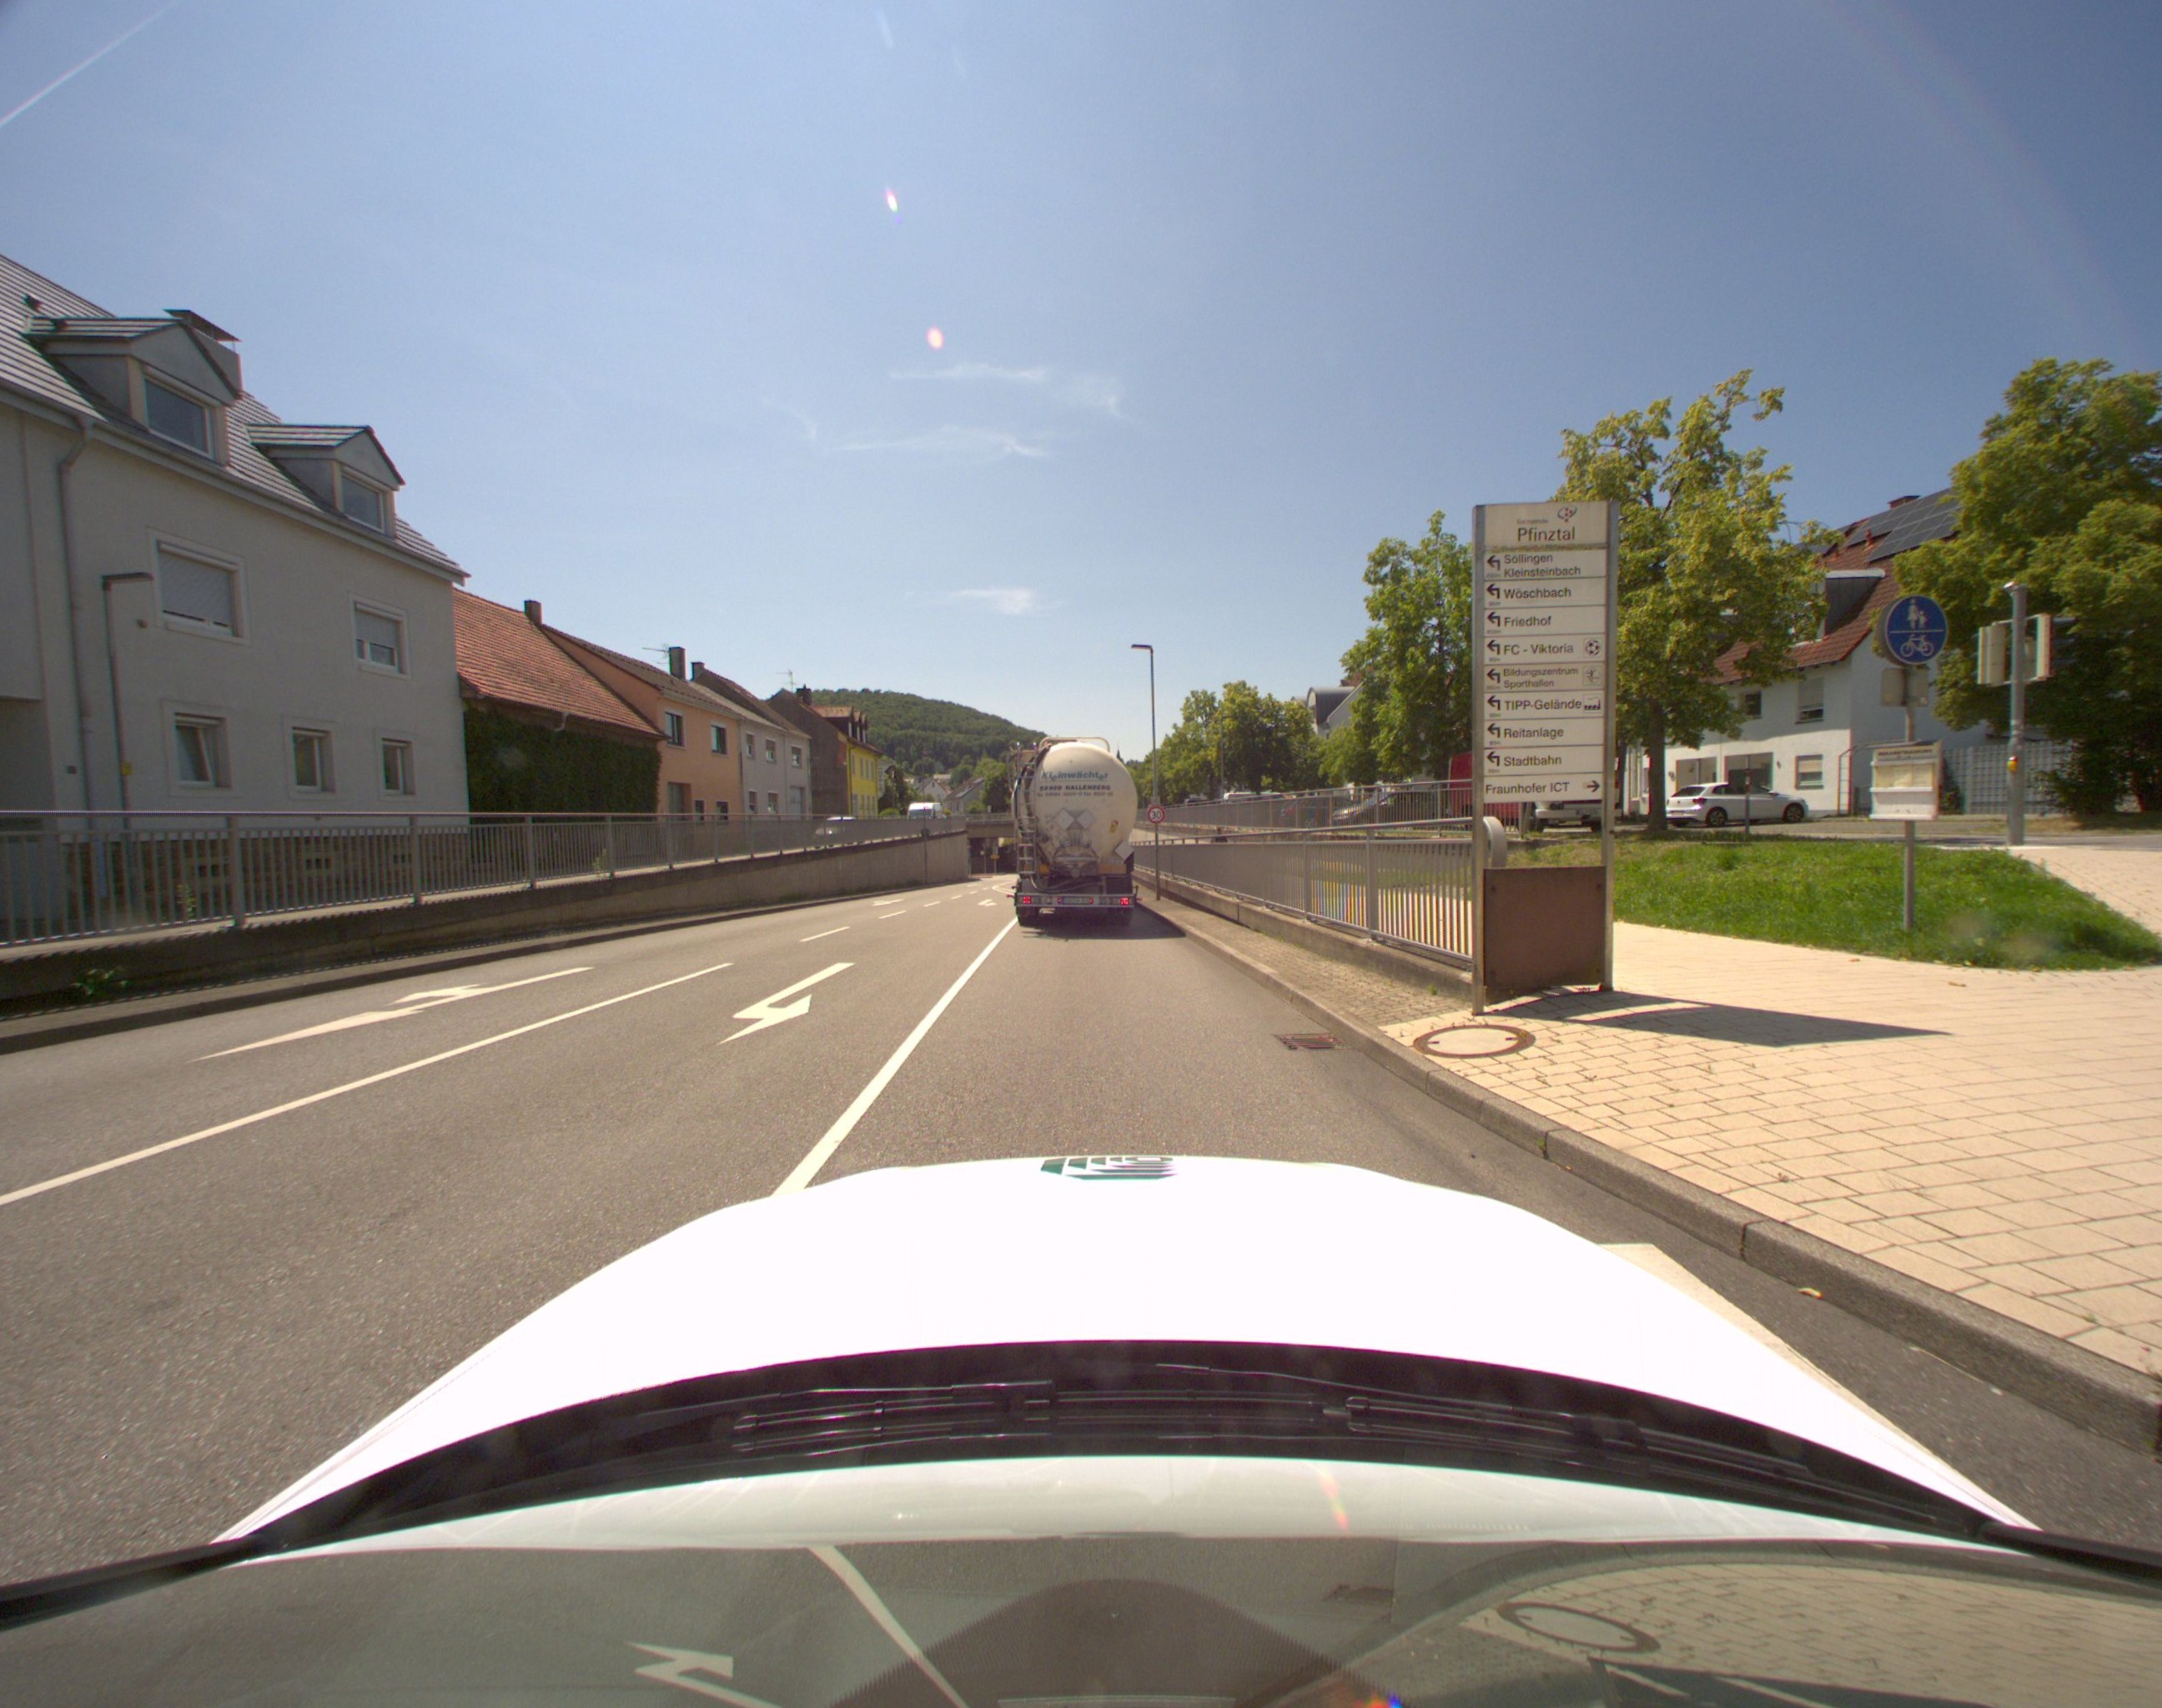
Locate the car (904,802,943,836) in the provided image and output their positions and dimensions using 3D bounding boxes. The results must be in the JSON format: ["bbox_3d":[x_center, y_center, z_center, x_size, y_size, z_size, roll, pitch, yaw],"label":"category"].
[{"bbox_3d":[-12.002,-2.687,62.469,2.060,2.536,5.659,0,2,-1],"label":"car"}]

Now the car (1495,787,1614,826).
[{"bbox_3d":[21.526,-2.155,37.120,4.393,1.489,1.757,-3,2,-1],"label":"car"}]

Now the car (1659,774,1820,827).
[{"bbox_3d":[21.647,-1.750,26.886,3.926,1.478,1.757,-3,2,-1],"label":"car"}]

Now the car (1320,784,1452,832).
[{"bbox_3d":[10.582,-1.600,28.438,3.974,1.498,1.749,-2,2,0],"label":"car"}]

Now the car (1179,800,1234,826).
[{"bbox_3d":[9.545,-3.136,62.201,3.893,1.885,1.686,-2,2,0],"label":"car"}]

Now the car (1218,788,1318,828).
[{"bbox_3d":[10.368,-2.531,45.318,5.096,2.063,1.989,-2,2,0],"label":"car"}]

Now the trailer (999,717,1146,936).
[{"bbox_3d":[-0.155,-0.453,21.806,2.726,4.064,13.309,0,-1,0],"label":"trailer"}]

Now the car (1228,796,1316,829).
[{"bbox_3d":[9.942,-2.155,42.511,4.191,1.596,1.686,-2,2,0],"label":"car"}]

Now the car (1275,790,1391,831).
[{"bbox_3d":[10.134,-1.764,32.954,4.191,1.498,1.686,-2,2,0],"label":"car"}]

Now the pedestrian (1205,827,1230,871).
[{"bbox_3d":[5.653,-0.214,33.785,0.833,1.782,0.788,-2,0,-1],"label":"pedestrian"}]

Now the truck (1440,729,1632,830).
[{"bbox_3d":[11.866,-1.854,21.776,2.126,2.334,5.257,-1,2,-2],"label":"truck"}]

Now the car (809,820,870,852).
[{"bbox_3d":[-11.733,-0.937,39.866,1.808,1.462,4.307,0,3,-2],"label":"car"}]
